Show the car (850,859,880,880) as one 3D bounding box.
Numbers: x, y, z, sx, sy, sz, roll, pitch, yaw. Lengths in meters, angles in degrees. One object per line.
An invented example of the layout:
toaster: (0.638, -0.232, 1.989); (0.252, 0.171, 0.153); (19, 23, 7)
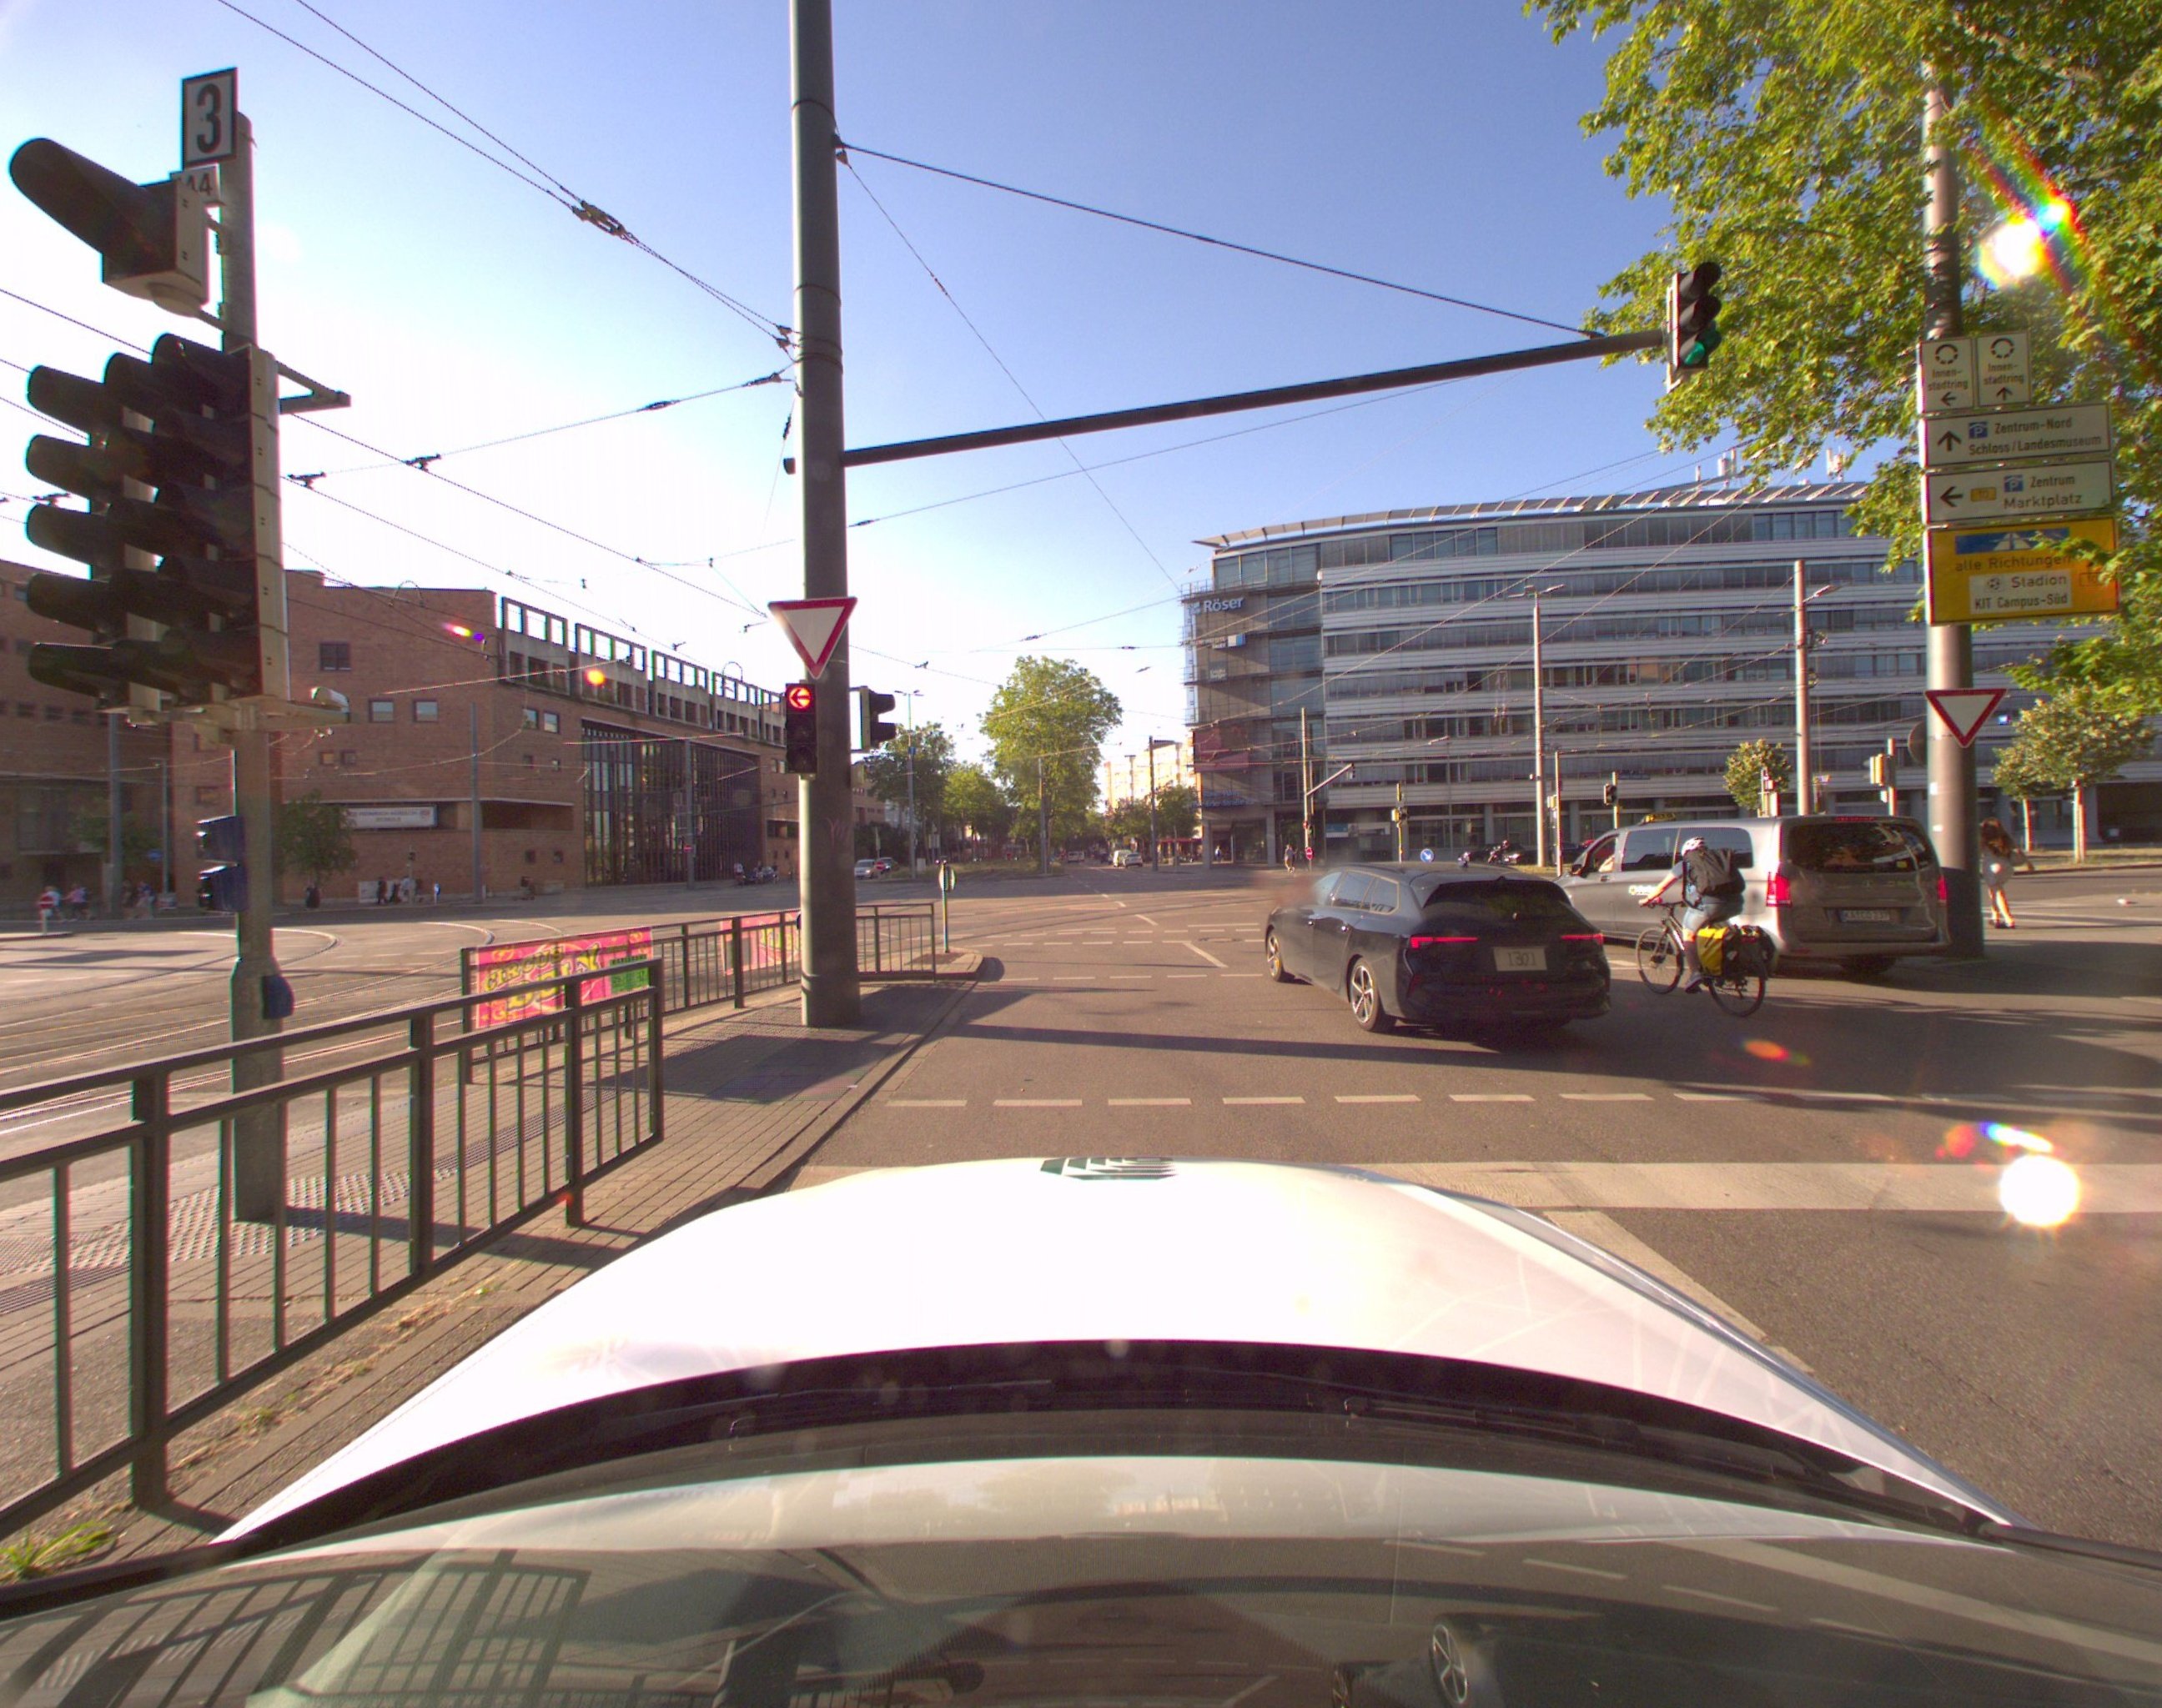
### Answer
car: (-17.991, 1.256, 67.916); (1.618, 1.577, 3.994); (-2, 0, -4)

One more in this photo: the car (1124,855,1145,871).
car: (5.399, 0.910, 82.839); (2.022, 1.596, 4.001); (0, -1, 2)

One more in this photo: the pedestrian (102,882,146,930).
pedestrian: (-42.082, 2.275, 35.830); (0.782, 1.983, 0.927); (-2, 0, 0)

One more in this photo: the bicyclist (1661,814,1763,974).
bicyclist: (5.918, 0.357, 7.660); (0.485, 1.439, 0.616); (-1, 1, 1)

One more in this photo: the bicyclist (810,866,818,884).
bicyclist: (-24.527, 1.929, 74.814); (0.585, 1.625, 0.514); (-2, 0, -3)

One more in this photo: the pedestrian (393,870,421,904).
pedestrian: (-42.333, 2.073, 51.157); (1.003, 2.052, 0.850); (-2, 0, -1)

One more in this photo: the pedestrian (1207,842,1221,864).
pedestrian: (13.038, -0.082, 79.679); (1.305, 2.190, 1.173); (0, -1, 8)

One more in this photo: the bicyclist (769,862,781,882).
bicyclist: (-24.661, 1.459, 65.627); (0.660, 1.569, 0.757); (-2, 0, -6)

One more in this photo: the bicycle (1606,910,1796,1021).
bicycle: (5.938, 1.026, 7.939); (0.489, 0.788, 1.862); (-1, 1, 2)

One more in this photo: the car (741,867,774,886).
car: (-27.308, 1.879, 68.838); (1.578, 1.376, 3.709); (-2, 0, -5)

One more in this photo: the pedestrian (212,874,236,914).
pedestrian: (-44.485, 2.074, 42.261); (0.615, 2.013, 0.726); (-2, 0, -28)

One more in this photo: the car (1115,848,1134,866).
car: (4.741, 0.343, 89.690); (1.986, 2.014, 4.001); (0, -1, 2)

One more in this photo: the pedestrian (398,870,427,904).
pedestrian: (-41.232, 2.020, 50.259); (1.003, 2.052, 0.850); (-2, 0, -1)

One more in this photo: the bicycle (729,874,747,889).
bicycle: (-24.706, 2.003, 58.664); (0.652, 0.998, 1.896); (-2, 0, -8)

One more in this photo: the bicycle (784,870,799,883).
bicycle: (-24.363, 1.891, 68.510); (0.650, 1.050, 2.010); (-1, 0, -3)

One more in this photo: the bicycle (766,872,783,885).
bicycle: (-24.630, 1.942, 65.471); (0.692, 0.998, 1.898); (-2, 0, -5)

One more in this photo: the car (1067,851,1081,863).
car: (-1.176, 0.490, 136.298); (1.985, 2.014, 4.003); (0, -1, 3)

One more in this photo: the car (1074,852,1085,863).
car: (-0.350, 0.657, 153.814); (1.987, 2.014, 4.000); (0, -1, 0)

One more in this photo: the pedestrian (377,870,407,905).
pedestrian: (-42.255, 2.064, 49.940); (1.003, 2.052, 0.850); (-2, 0, -1)

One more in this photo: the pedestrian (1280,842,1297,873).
pedestrian: (13.670, 0.215, 53.659); (0.866, 2.014, 0.794); (0, -1, 1)

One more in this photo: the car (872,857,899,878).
car: (-18.107, 1.230, 75.601); (1.819, 1.790, 3.994); (-2, 0, -4)

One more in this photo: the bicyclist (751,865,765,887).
bicyclist: (-23.437, 1.610, 59.141); (0.681, 1.560, 0.757); (-2, 0, -7)

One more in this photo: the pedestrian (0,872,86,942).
pedestrian: (-31.036, 1.550, 24.369); (1.029, 2.014, 1.208); (0, -1, 1)

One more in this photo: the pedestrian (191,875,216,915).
pedestrian: (-45.018, 2.093, 41.774); (0.615, 2.013, 0.726); (-2, 0, -28)

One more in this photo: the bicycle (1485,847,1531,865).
bicycle: (25.715, 0.130, 49.074); (2.397, 1.022, 0.638); (-2, 0, 6)

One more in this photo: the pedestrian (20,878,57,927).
pedestrian: (-44.228, 2.059, 34.561); (0.728, 2.013, 0.614); (-2, 0, -1)

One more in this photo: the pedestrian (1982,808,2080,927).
pedestrian: (14.669, 0.206, 12.599); (0.677, 1.759, 0.746); (-2, 0, 22)

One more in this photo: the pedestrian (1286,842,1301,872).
pedestrian: (14.351, 0.181, 54.938); (0.846, 2.014, 0.708); (0, -1, 1)

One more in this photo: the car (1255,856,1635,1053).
car: (3.155, 0.744, 8.153); (1.759, 1.404, 4.293); (-1, 0, -2)

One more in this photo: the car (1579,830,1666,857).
car: (32.272, -0.593, 48.640); (3.966, 1.552, 1.800); (0, -1, 6)

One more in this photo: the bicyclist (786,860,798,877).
bicyclist: (-24.403, 1.228, 68.753); (0.652, 1.474, 1.031); (-1, -1, -3)

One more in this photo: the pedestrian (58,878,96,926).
pedestrian: (-43.613, 2.057, 35.371); (0.782, 2.013, 0.651); (-2, 0, -1)

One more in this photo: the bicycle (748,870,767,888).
bicycle: (-23.425, 1.780, 59.053); (0.684, 1.142, 2.106); (-2, 2, -6)

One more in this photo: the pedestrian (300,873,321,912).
pedestrian: (-41.223, 2.062, 43.590); (0.615, 2.013, 0.726); (-2, 0, -29)

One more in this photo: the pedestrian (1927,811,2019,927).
pedestrian: (14.050, 0.237, 12.846); (0.671, 1.759, 0.746); (-2, 0, 22)

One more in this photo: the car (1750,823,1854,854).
car: (39.836, -0.848, 45.048); (3.968, 1.596, 1.884); (0, -1, 5)

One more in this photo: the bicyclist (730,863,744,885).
bicyclist: (-24.710, 1.434, 58.535); (0.660, 1.574, 0.757); (-2, 0, -7)

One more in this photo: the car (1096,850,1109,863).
car: (3.313, 0.409, 126.761); (1.986, 2.014, 4.001); (0, -1, 2)

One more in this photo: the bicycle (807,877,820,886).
bicycle: (-24.506, 2.501, 74.759); (0.588, 0.771, 1.966); (-2, 0, -2)

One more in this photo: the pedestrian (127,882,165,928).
pedestrian: (-42.119, 2.282, 36.681); (0.782, 1.983, 0.751); (-2, 0, -1)

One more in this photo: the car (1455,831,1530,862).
car: (27.444, -0.482, 54.415); (3.972, 2.014, 2.001); (0, -1, 2)

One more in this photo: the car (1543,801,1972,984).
car: (8.491, 0.393, 11.020); (1.992, 1.896, 4.888); (-1, 0, 4)

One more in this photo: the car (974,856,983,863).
car: (-22.377, 1.205, 177.260); (1.673, 1.607, 3.994); (-2, 0, -4)
